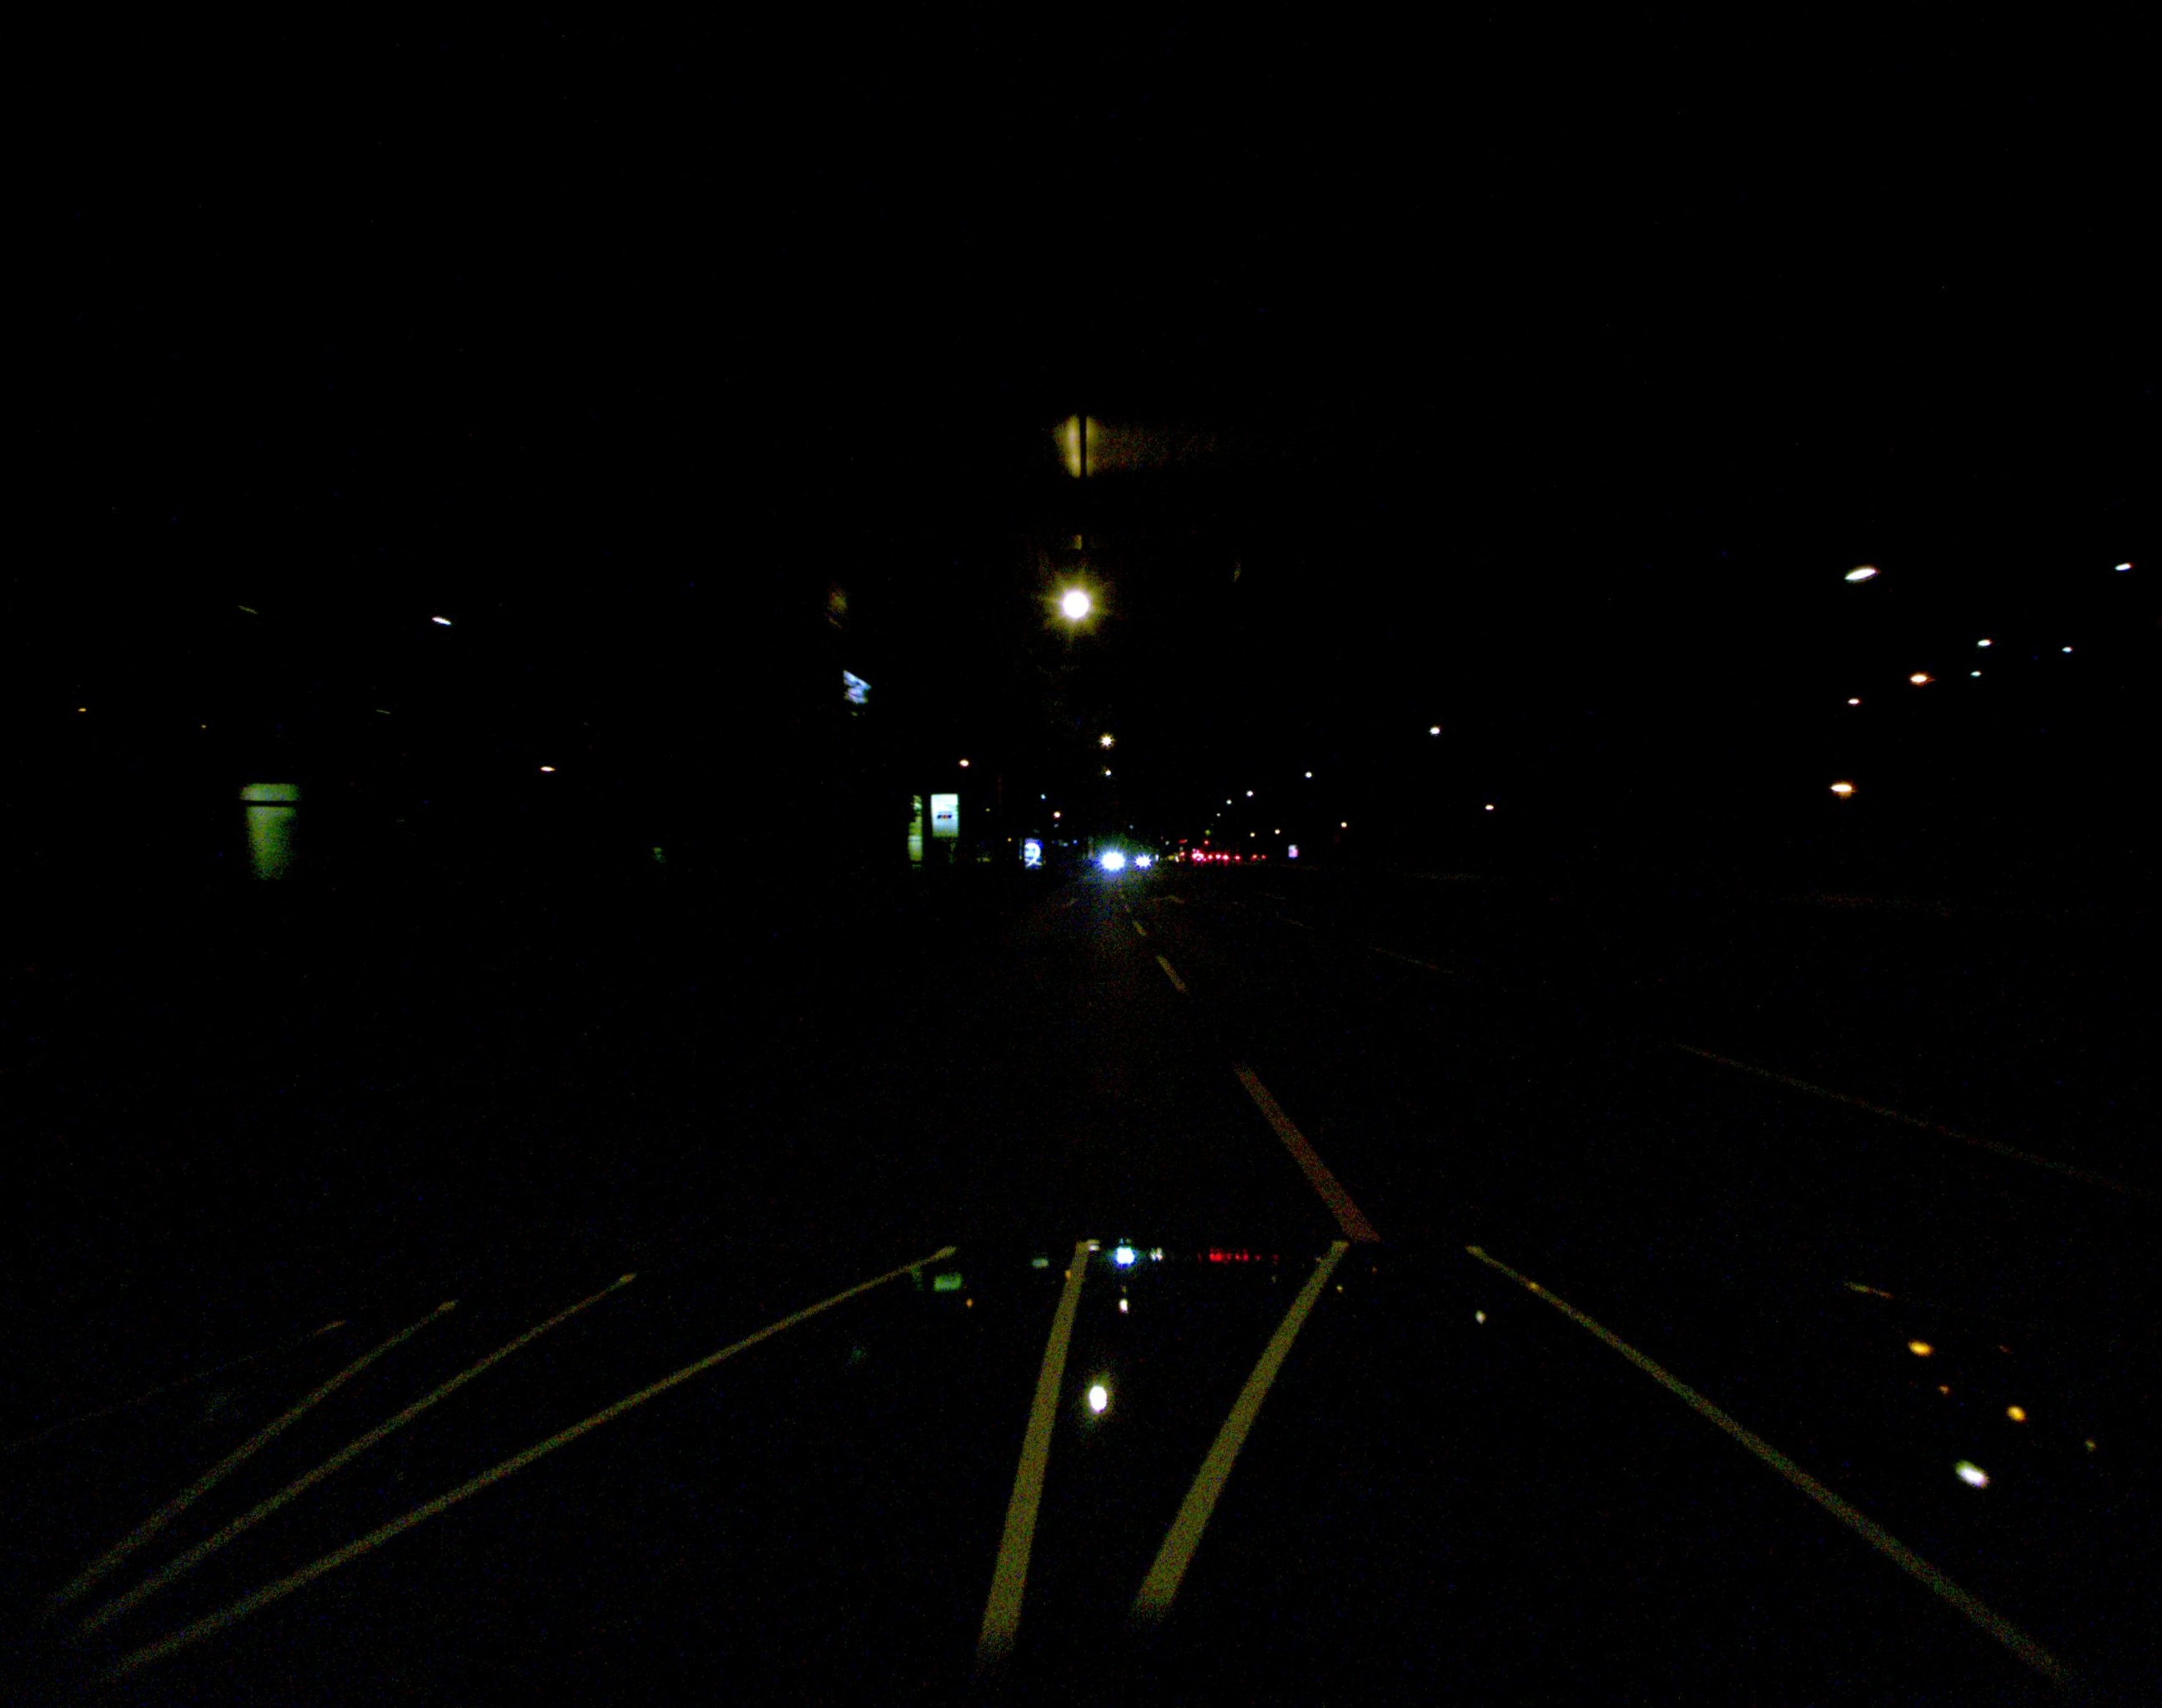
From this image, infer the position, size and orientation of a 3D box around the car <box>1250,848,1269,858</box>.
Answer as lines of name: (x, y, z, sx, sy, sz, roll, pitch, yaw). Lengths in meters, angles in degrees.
car: (28.104, -0.144, 119.797, 1.991, 1.472, 4.204, 0, 0, 1)

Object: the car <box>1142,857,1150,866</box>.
car: (16.304, 1.901, 191.372, 1.793, 2.002, 4.001, -2, 1, 7)

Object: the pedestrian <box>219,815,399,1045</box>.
pedestrian: (-6.847, 0.633, 6.773, 0.806, 1.902, 0.794, 2, 1, 10)

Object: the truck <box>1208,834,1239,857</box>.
truck: (25.762, -1.589, 137.771, 3.690, 3.932, 10.420, -2, 1, 2)

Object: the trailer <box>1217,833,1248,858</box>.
trailer: (25.485, -1.449, 128.327, 3.705, 3.967, 8.394, -2, 1, 1)

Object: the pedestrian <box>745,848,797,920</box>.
pedestrian: (-7.488, 0.708, 18.394, 0.854, 1.697, 0.957, 0, 1, 1)

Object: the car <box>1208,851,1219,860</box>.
car: (27.436, 0.286, 157.731, 1.729, 1.616, 3.962, -2, 1, 3)

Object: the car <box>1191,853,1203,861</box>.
car: (23.819, 0.555, 156.249, 1.809, 1.490, 4.084, -1, 1, 0)
